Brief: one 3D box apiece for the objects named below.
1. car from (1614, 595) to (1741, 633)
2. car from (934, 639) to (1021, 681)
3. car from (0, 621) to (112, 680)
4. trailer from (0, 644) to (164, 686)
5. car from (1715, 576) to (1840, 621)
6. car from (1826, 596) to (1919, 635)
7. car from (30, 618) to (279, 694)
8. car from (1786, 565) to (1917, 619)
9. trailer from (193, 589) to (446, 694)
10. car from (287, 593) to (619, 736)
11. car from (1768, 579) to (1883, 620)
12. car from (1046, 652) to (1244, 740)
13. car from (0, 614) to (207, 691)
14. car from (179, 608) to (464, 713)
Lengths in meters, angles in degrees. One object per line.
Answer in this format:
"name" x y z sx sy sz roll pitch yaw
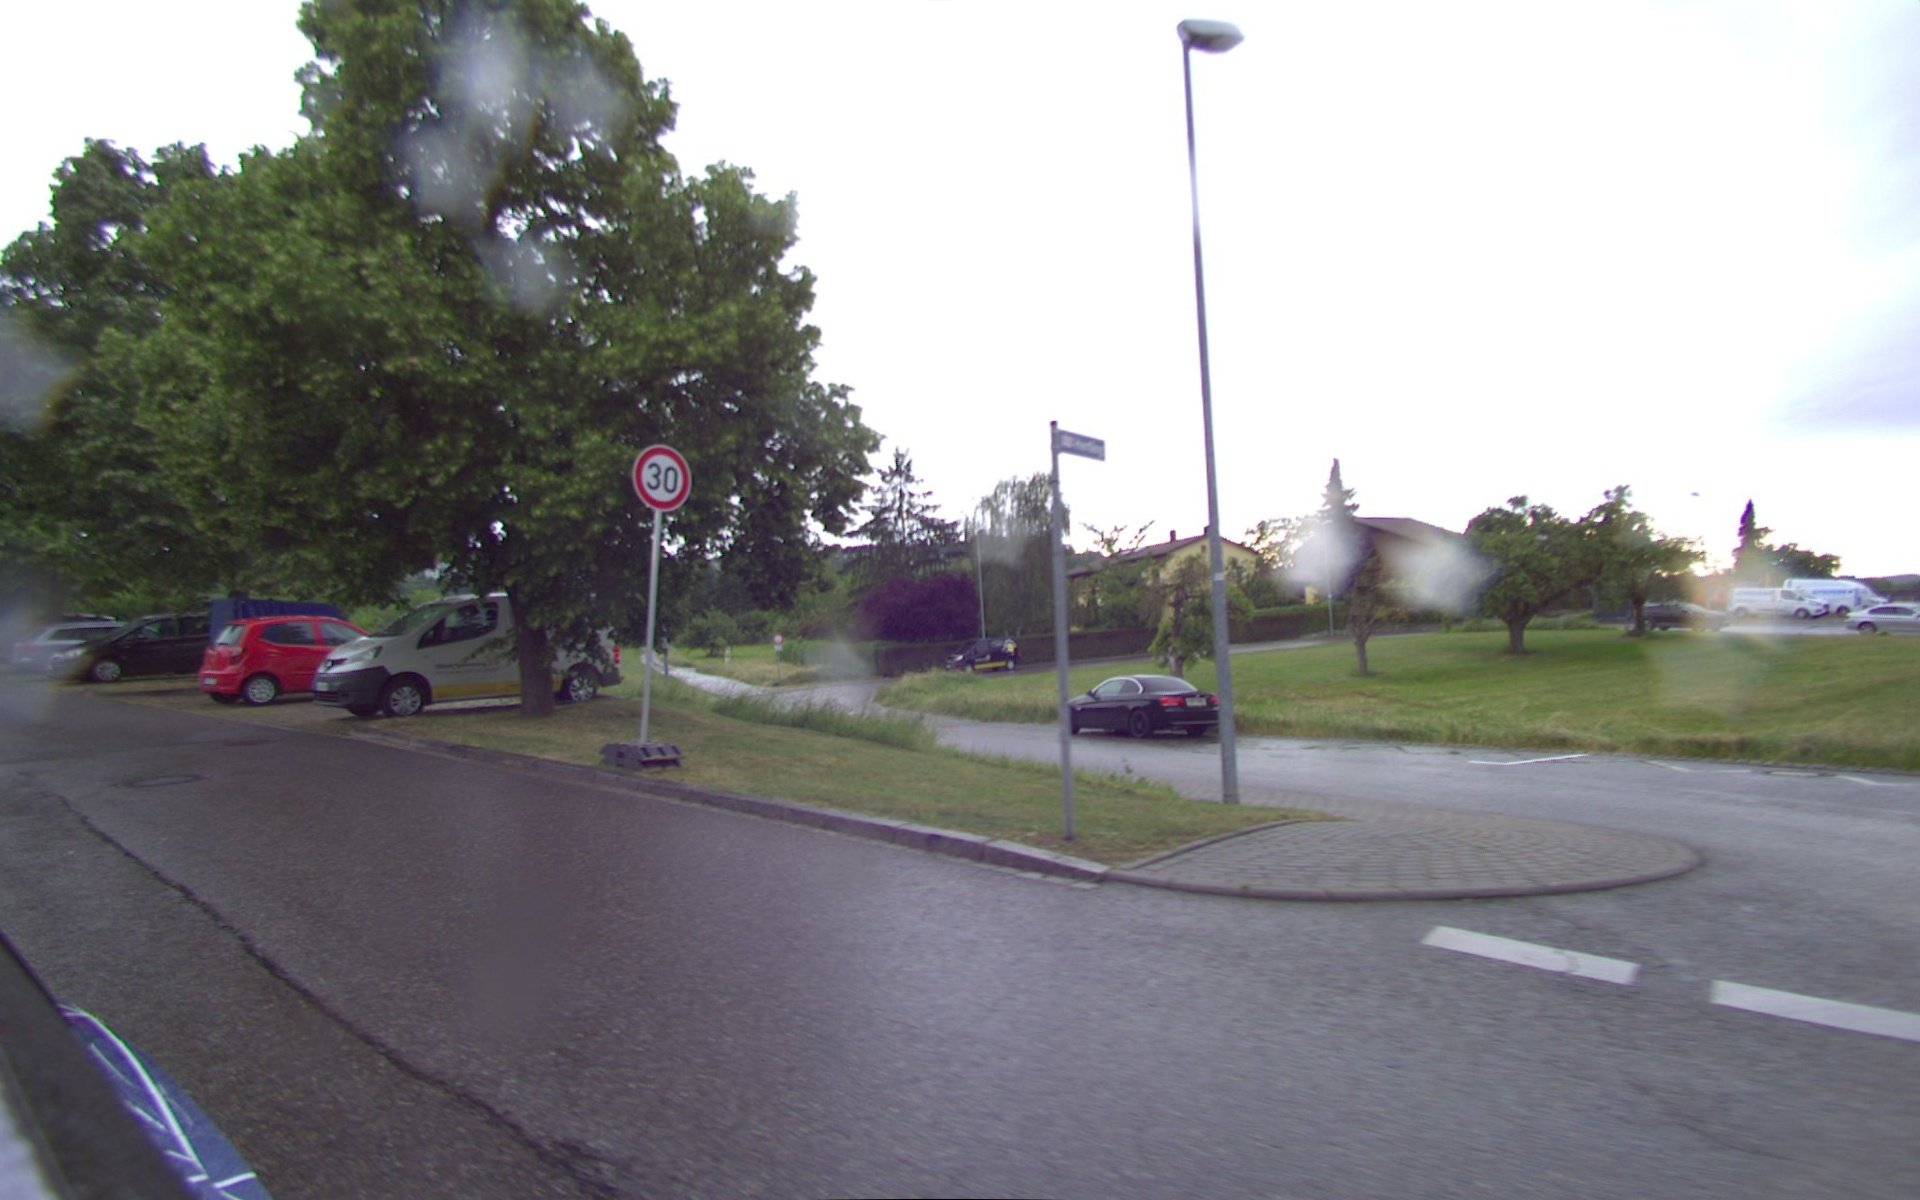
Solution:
"car" 40.355 0.819 57.112 2.251 1.990 5.440 2 -2 -26
"car" 0.971 3.295 55.473 4.426 2.237 1.935 3 -4 -31
"car" -29.059 1.525 30.988 2.038 1.735 4.333 -1 -2 33
"trailer" -24.701 1.770 27.932 1.995 0.968 3.908 -2 -1 35
"car" 52.288 -0.053 64.876 1.966 2.722 5.828 -1 -1 -32
"car" 43.792 0.734 47.158 2.251 1.661 4.634 2 -3 -26
"car" -20.019 1.309 25.339 1.803 1.602 4.576 -1 0 37
"car" 59.967 -0.460 68.224 1.965 3.455 6.321 1 -2 -25
"trailer" -13.433 0.850 21.461 1.771 1.999 4.174 -1 -2 37
"car" -7.769 0.923 15.825 1.861 1.920 4.254 -1 -2 42
"car" 57.476 0.035 67.344 1.966 2.589 5.447 1 -2 -31
"car" 4.073 2.198 23.052 1.966 1.767 4.396 1 -6 -31
"car" -22.478 1.290 26.504 2.023 1.734 4.035 -1 0 38
"car" -11.758 1.049 18.919 1.750 1.735 4.161 -1 -2 33
